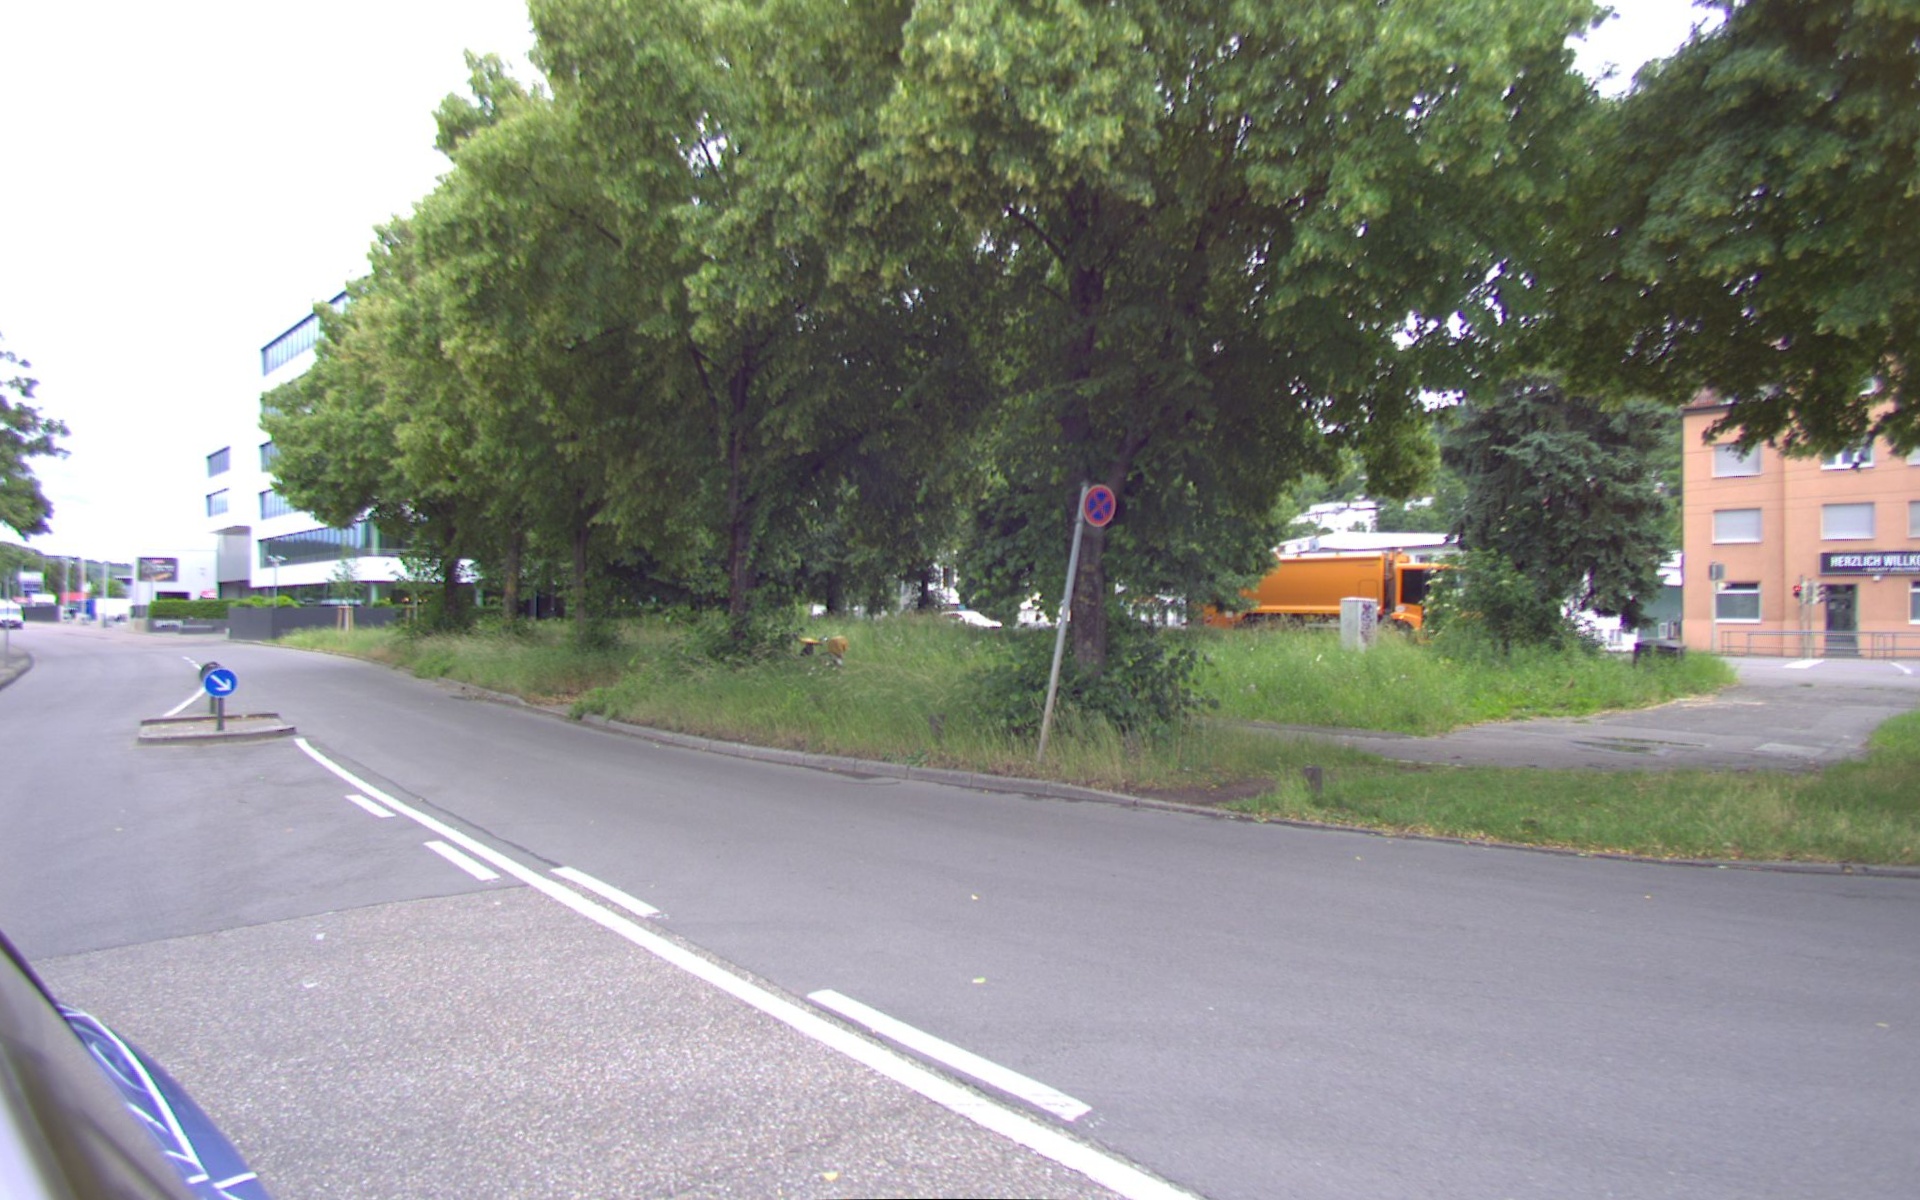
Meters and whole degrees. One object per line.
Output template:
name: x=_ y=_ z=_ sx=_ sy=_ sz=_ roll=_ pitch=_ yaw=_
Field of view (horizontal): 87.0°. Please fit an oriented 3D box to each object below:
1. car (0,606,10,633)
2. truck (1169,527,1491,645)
car: x=-90.514 y=1.818 z=94.679 sx=2.354 sy=2.477 sz=6.105 roll=0 pitch=-1 yaw=-44
truck: x=12.488 y=-0.477 z=35.394 sx=2.755 sy=3.553 sz=10.433 roll=1 pitch=0 yaw=-43
